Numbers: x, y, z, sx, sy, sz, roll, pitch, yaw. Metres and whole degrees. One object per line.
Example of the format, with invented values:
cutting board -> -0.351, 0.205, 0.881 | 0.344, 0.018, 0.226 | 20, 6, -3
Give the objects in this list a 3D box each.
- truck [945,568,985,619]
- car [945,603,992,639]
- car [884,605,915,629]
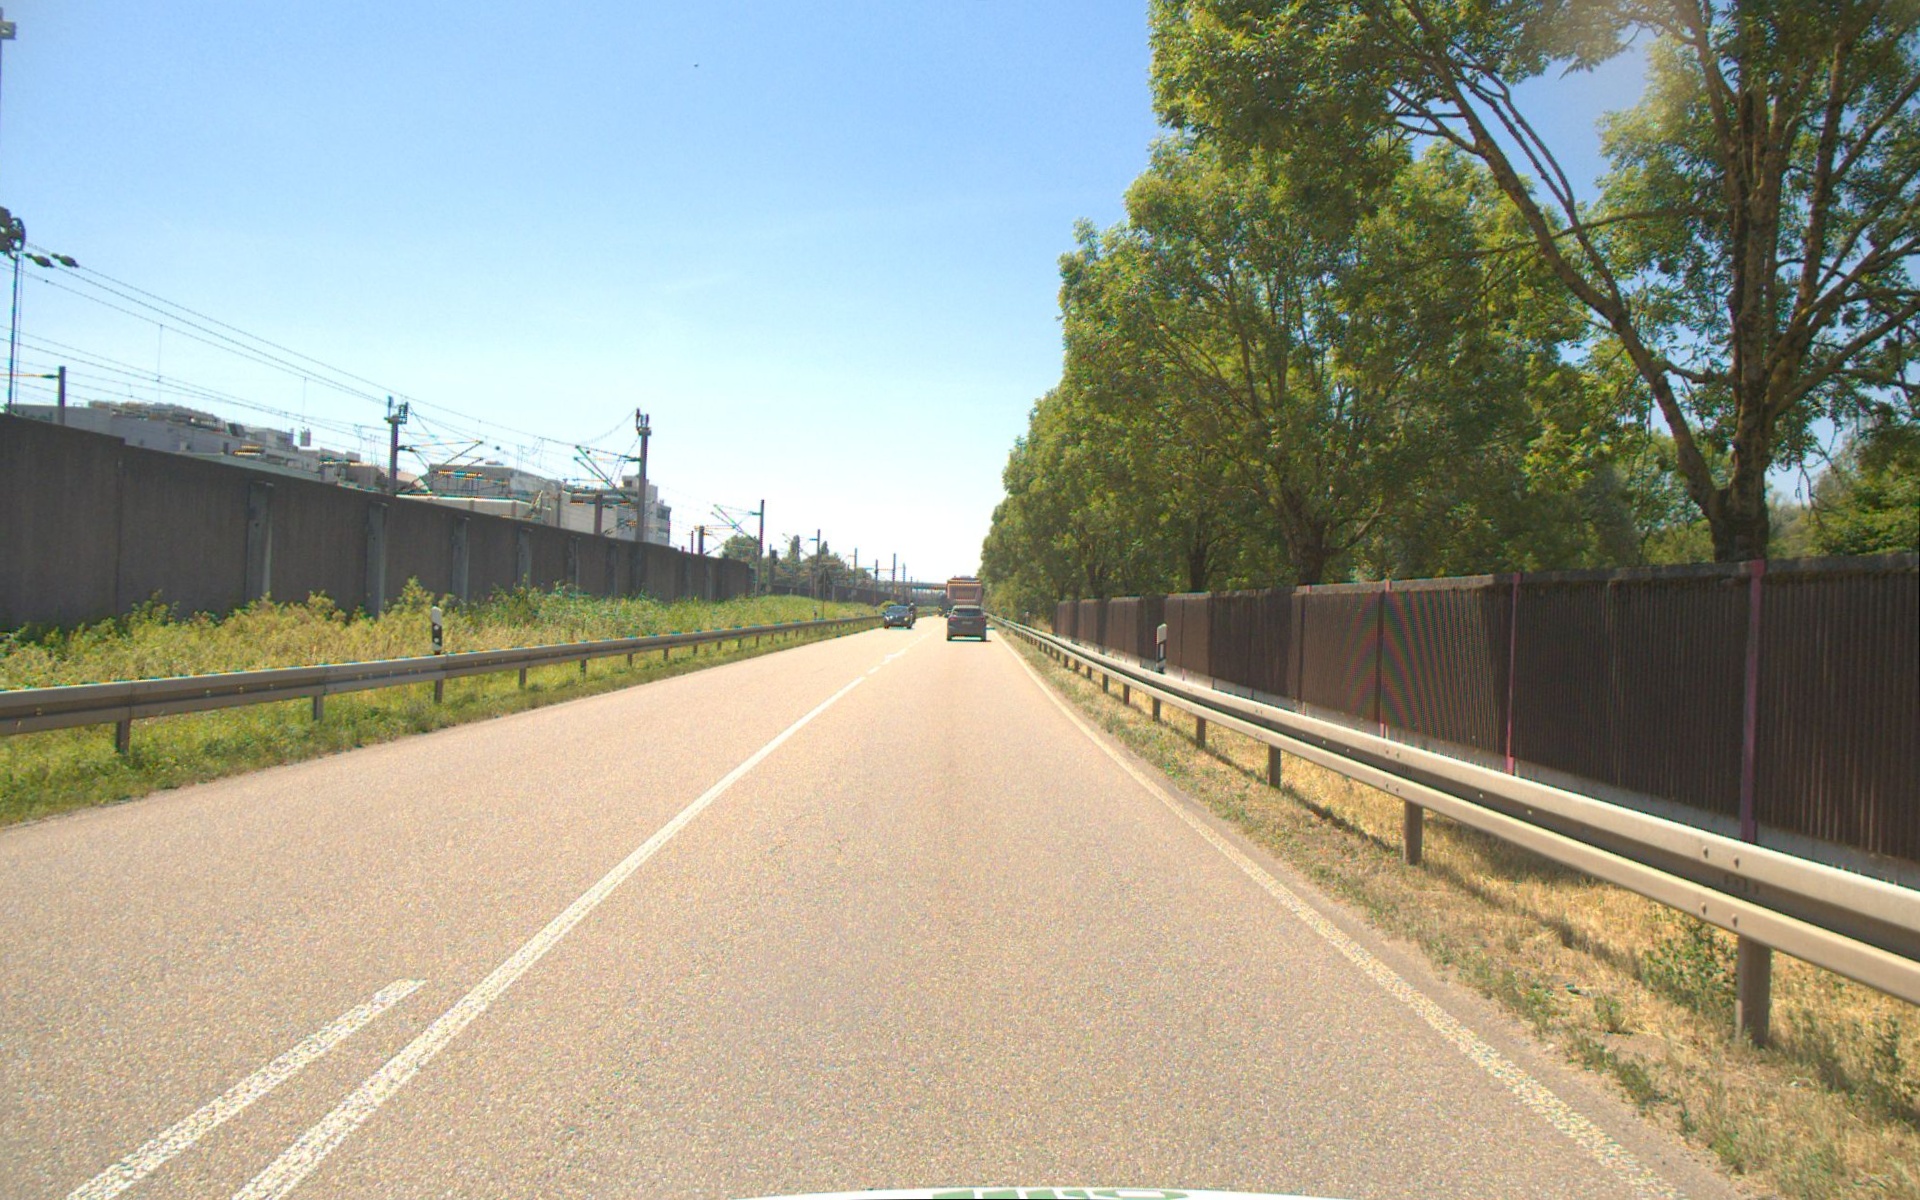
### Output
truck -> 0.353, -0.417, 120.490 | 2.713, 3.485, 10.818 | 1, 0, 0
car -> 0.351, 0.922, 74.492 | 1.953, 1.534, 3.998 | 1, 0, -2
car -> -3.958, 1.086, 108.867 | 1.953, 1.534, 3.999 | 1, 0, -1
